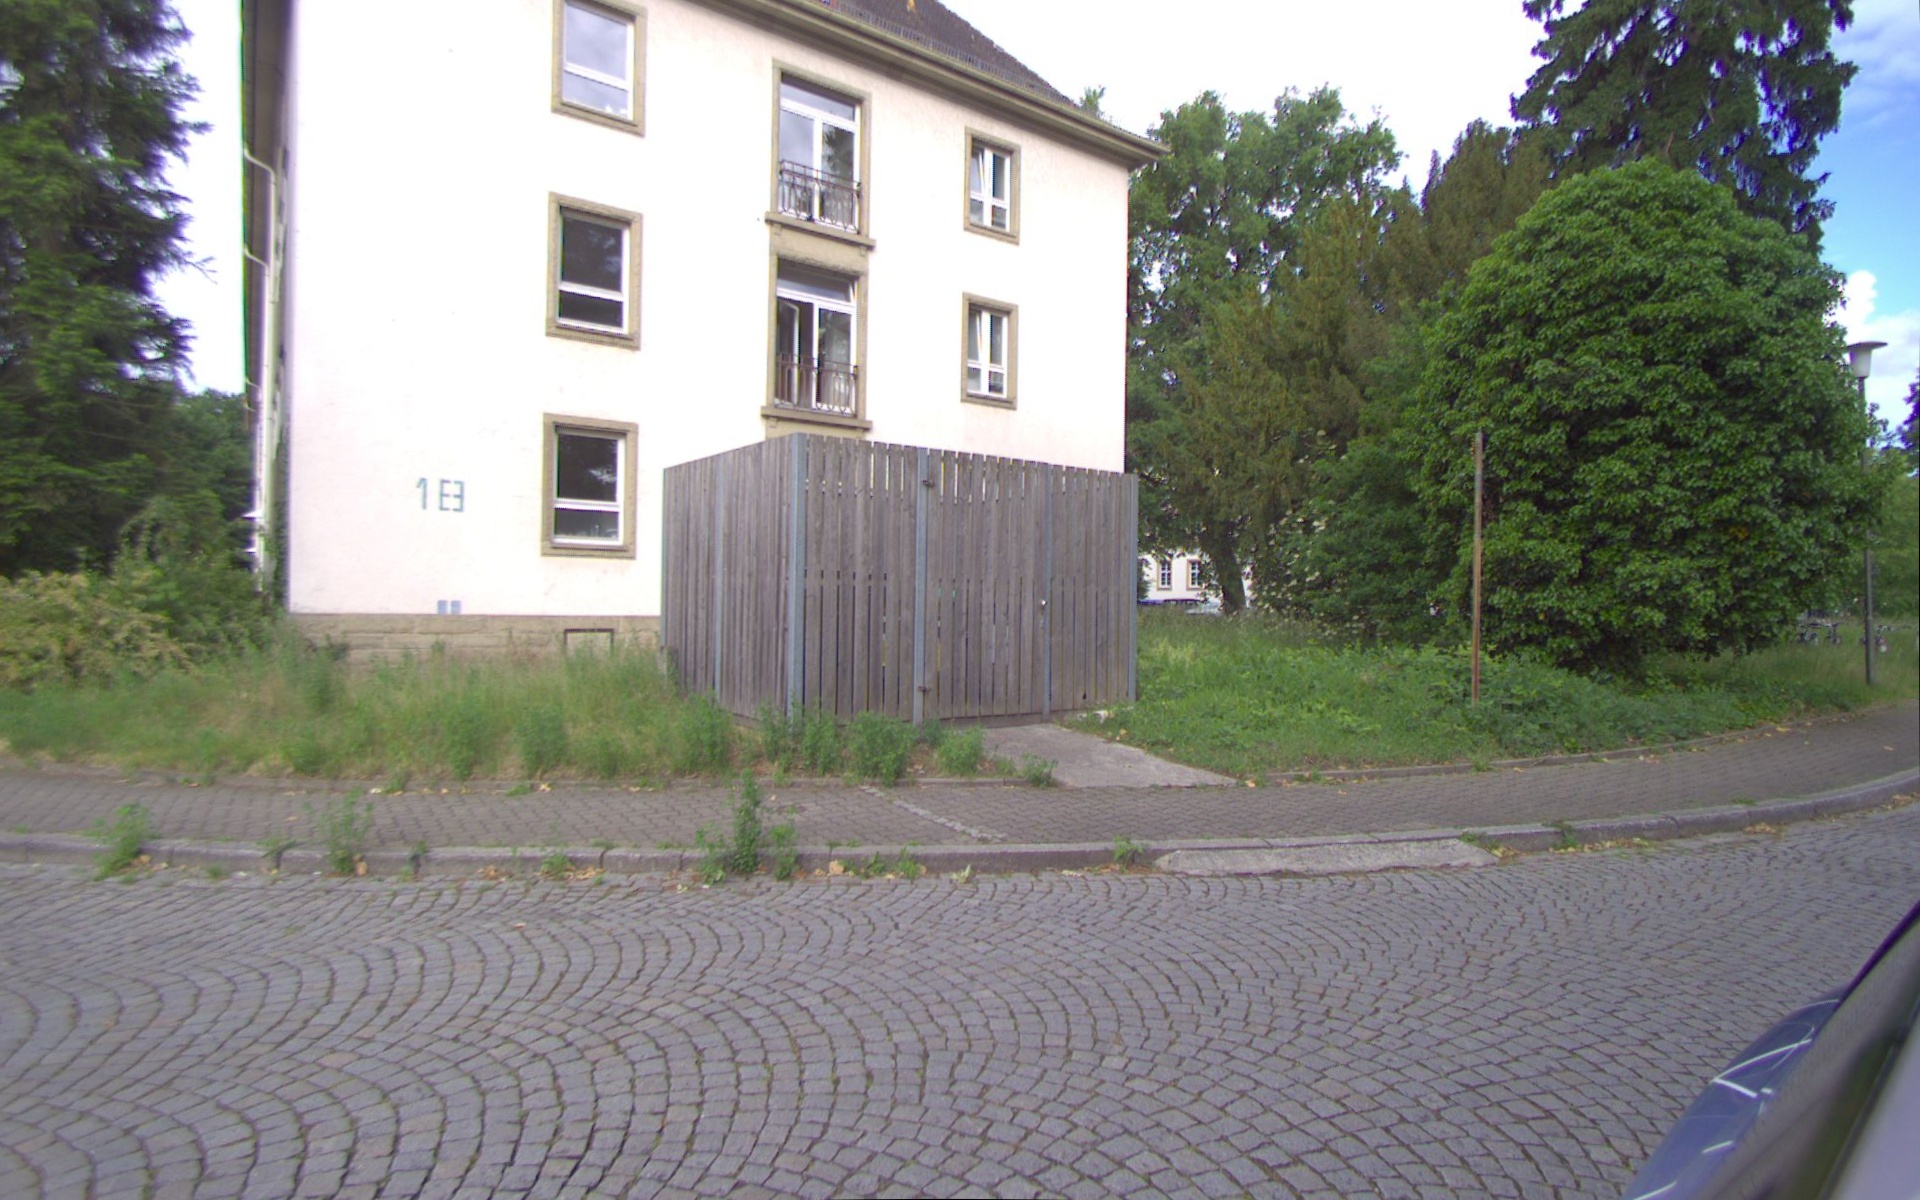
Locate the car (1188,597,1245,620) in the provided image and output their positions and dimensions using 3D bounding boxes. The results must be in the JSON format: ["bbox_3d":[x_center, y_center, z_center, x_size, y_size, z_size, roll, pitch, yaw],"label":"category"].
[{"bbox_3d":[14.097,0.470,55.578,3.188,1.233,1.297,1,0,-36],"label":"car"}]

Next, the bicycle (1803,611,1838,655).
[{"bbox_3d":[23.197,0.872,27.298,0.474,1.126,1.745,0,0,32],"label":"bicycle"}]

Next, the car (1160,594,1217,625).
[{"bbox_3d":[13.010,0.533,57.680,3.188,1.682,1.439,1,0,-36],"label":"car"}]

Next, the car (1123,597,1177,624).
[{"bbox_3d":[11.391,0.630,60.519,3.188,1.585,1.384,1,0,-36],"label":"car"}]

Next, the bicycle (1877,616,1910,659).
[{"bbox_3d":[24.343,0.968,26.413,0.475,1.020,1.645,0,1,37],"label":"bicycle"}]

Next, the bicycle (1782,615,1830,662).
[{"bbox_3d":[20.548,0.910,24.595,0.546,1.078,1.737,0,0,28],"label":"bicycle"}]

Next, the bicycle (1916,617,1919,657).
[{"bbox_3d":[24.858,0.971,25.832,0.475,1.020,1.645,0,1,37],"label":"bicycle"}]

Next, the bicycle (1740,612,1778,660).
[{"bbox_3d":[20.415,0.906,25.845,1.725,1.186,0.550,1,0,-44],"label":"bicycle"}]

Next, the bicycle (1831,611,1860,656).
[{"bbox_3d":[23.474,0.872,26.838,0.475,1.126,1.741,0,0,37],"label":"bicycle"}]

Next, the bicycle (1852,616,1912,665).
[{"bbox_3d":[21.681,0.922,23.821,0.612,1.078,1.807,0,0,28],"label":"bicycle"}]
